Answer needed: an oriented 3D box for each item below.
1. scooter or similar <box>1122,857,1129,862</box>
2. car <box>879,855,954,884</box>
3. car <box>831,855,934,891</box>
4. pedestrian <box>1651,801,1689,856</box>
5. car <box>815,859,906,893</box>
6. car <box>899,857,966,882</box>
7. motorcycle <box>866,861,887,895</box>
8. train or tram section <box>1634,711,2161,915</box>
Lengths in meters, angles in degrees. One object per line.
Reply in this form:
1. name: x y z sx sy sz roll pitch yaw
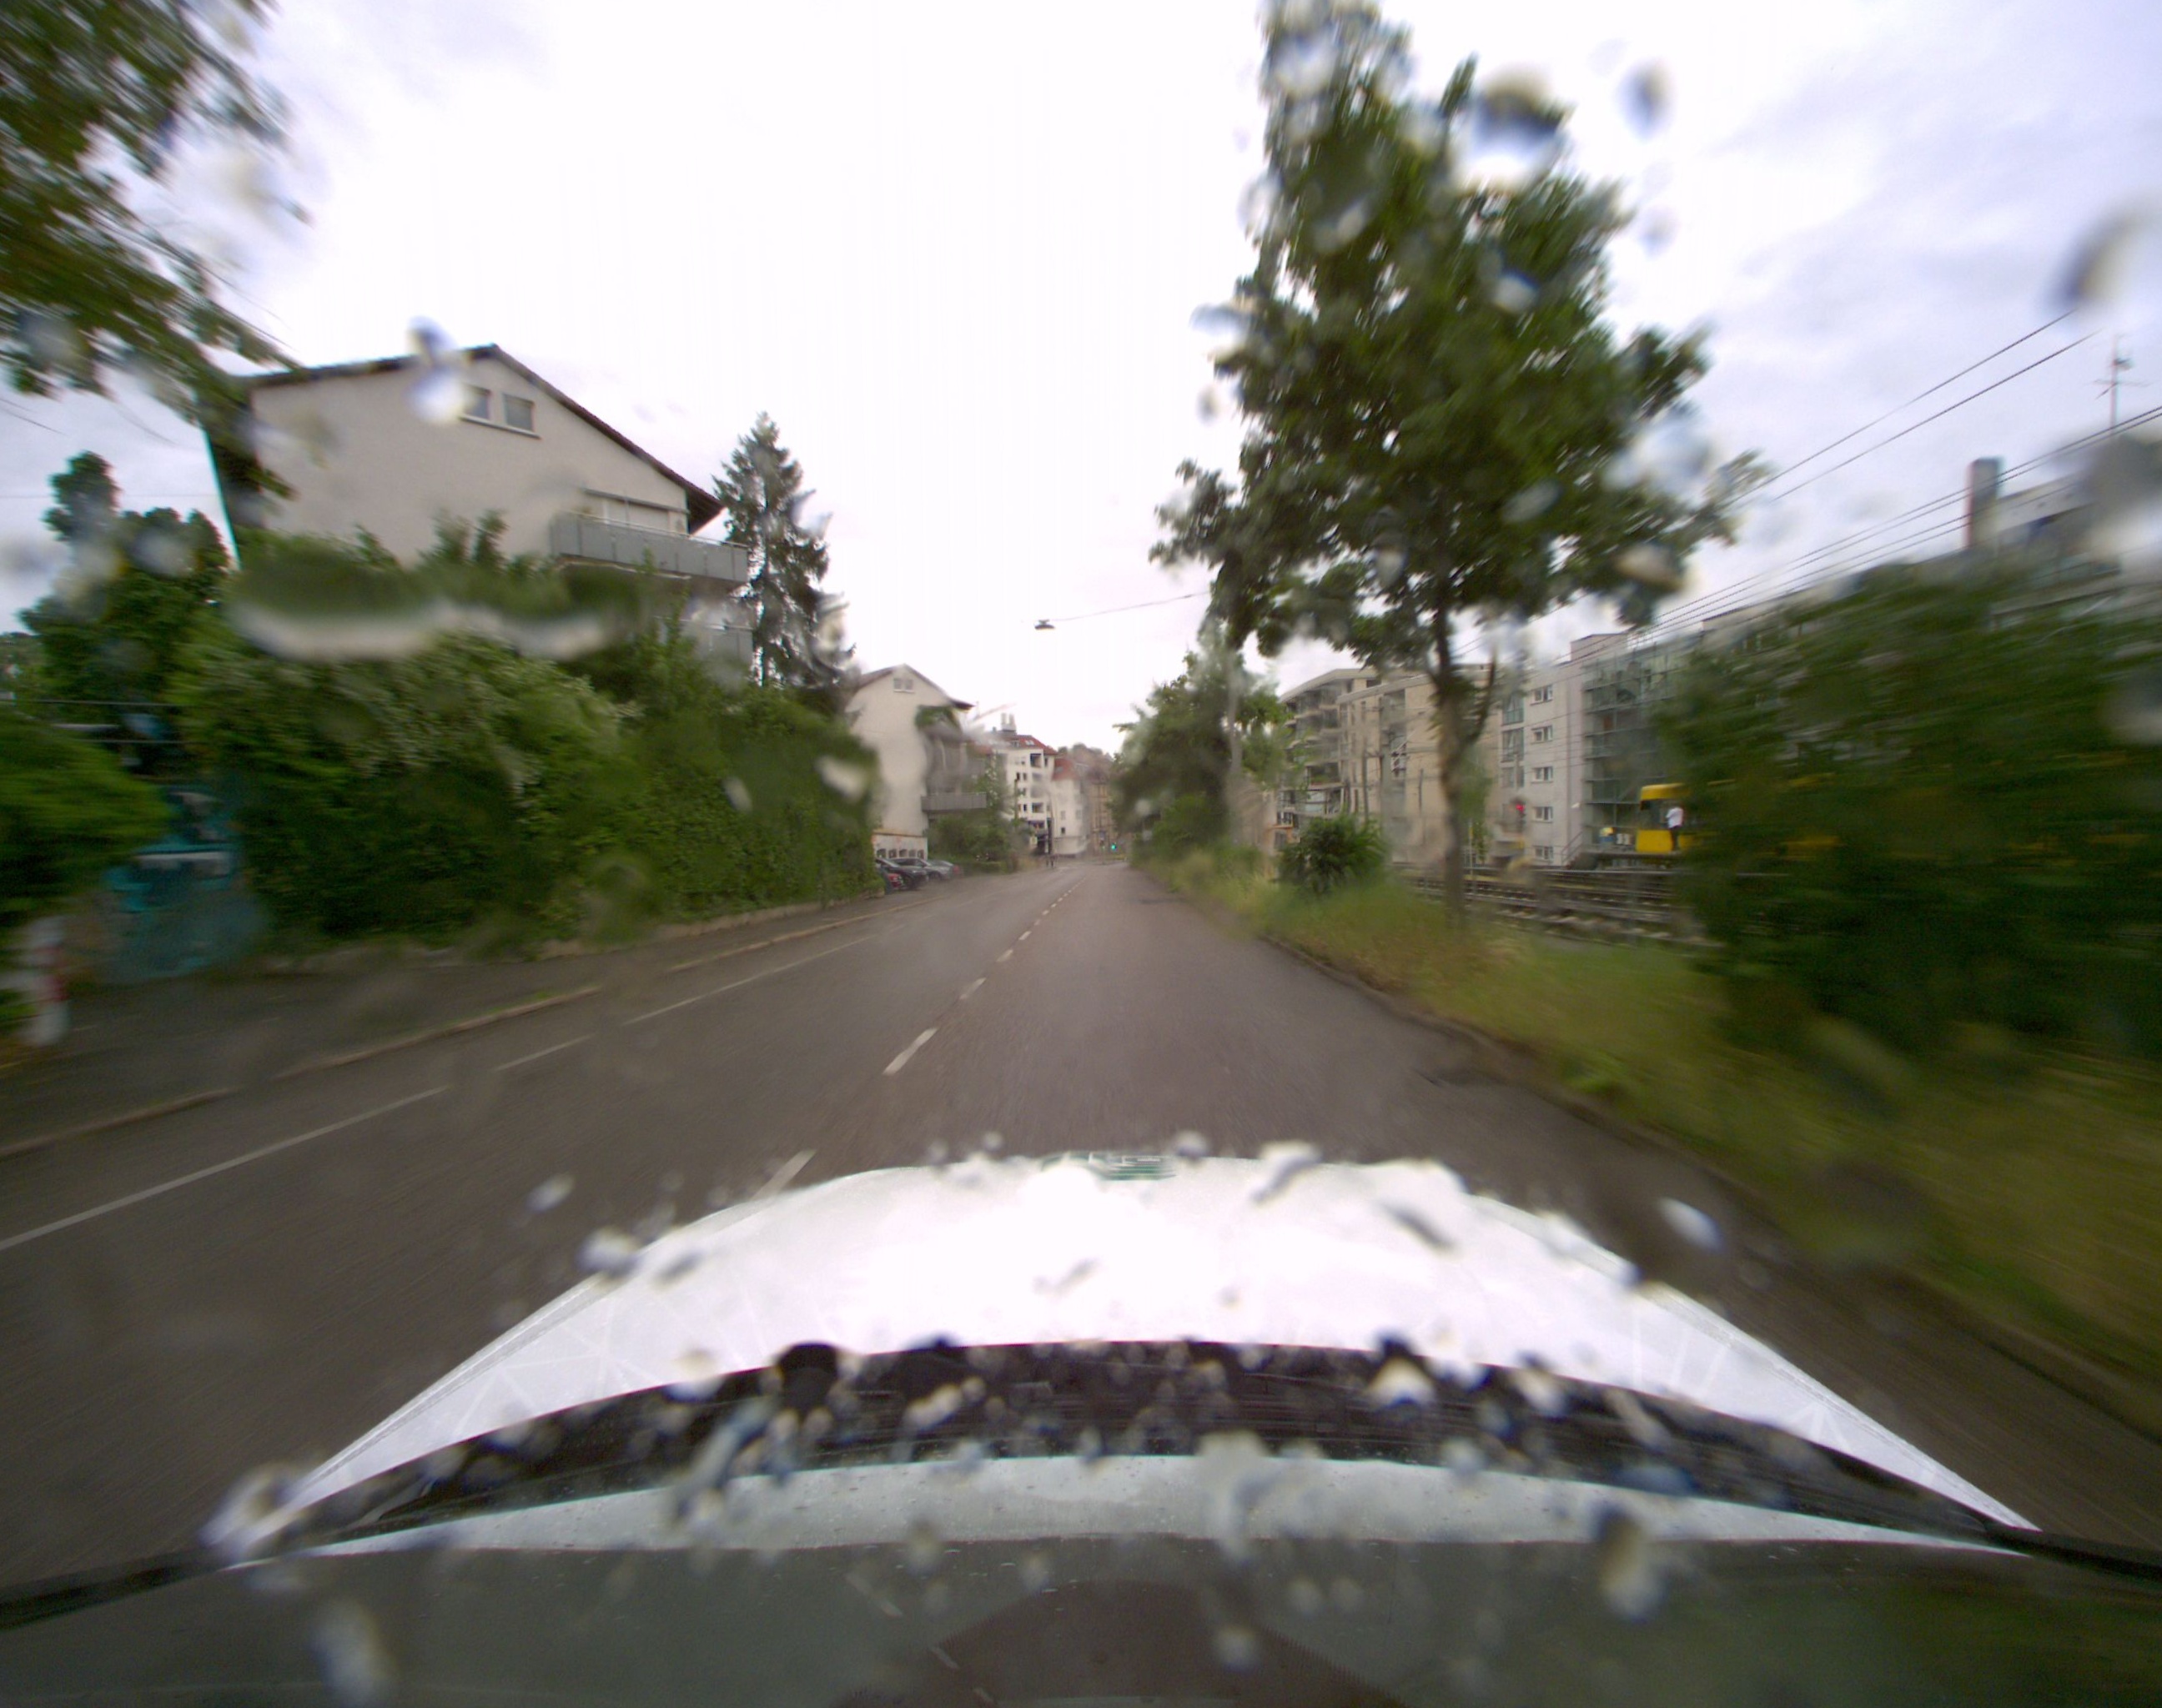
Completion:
1. scooter or similar: 6.693 0.872 122.452 0.480 0.761 1.338 -2 -1 30
2. car: -9.437 0.905 47.071 3.977 1.559 1.878 -1 -1 -3
3. car: -9.483 0.891 39.115 4.433 1.602 1.815 -1 1 0
4. pedestrian: 20.876 -0.891 28.876 0.719 1.880 0.818 -1 -2 2
5. car: -9.778 0.955 36.275 3.625 1.405 1.713 -1 -1 -5
6. car: -8.953 0.936 49.329 3.616 1.407 1.785 -1 -1 3
7. motorcycle: -8.362 0.964 33.320 0.616 1.320 2.313 -1 -1 -9
8. train or tram section: 22.871 -0.804 22.164 3.318 3.947 18.819 -1 0 2
